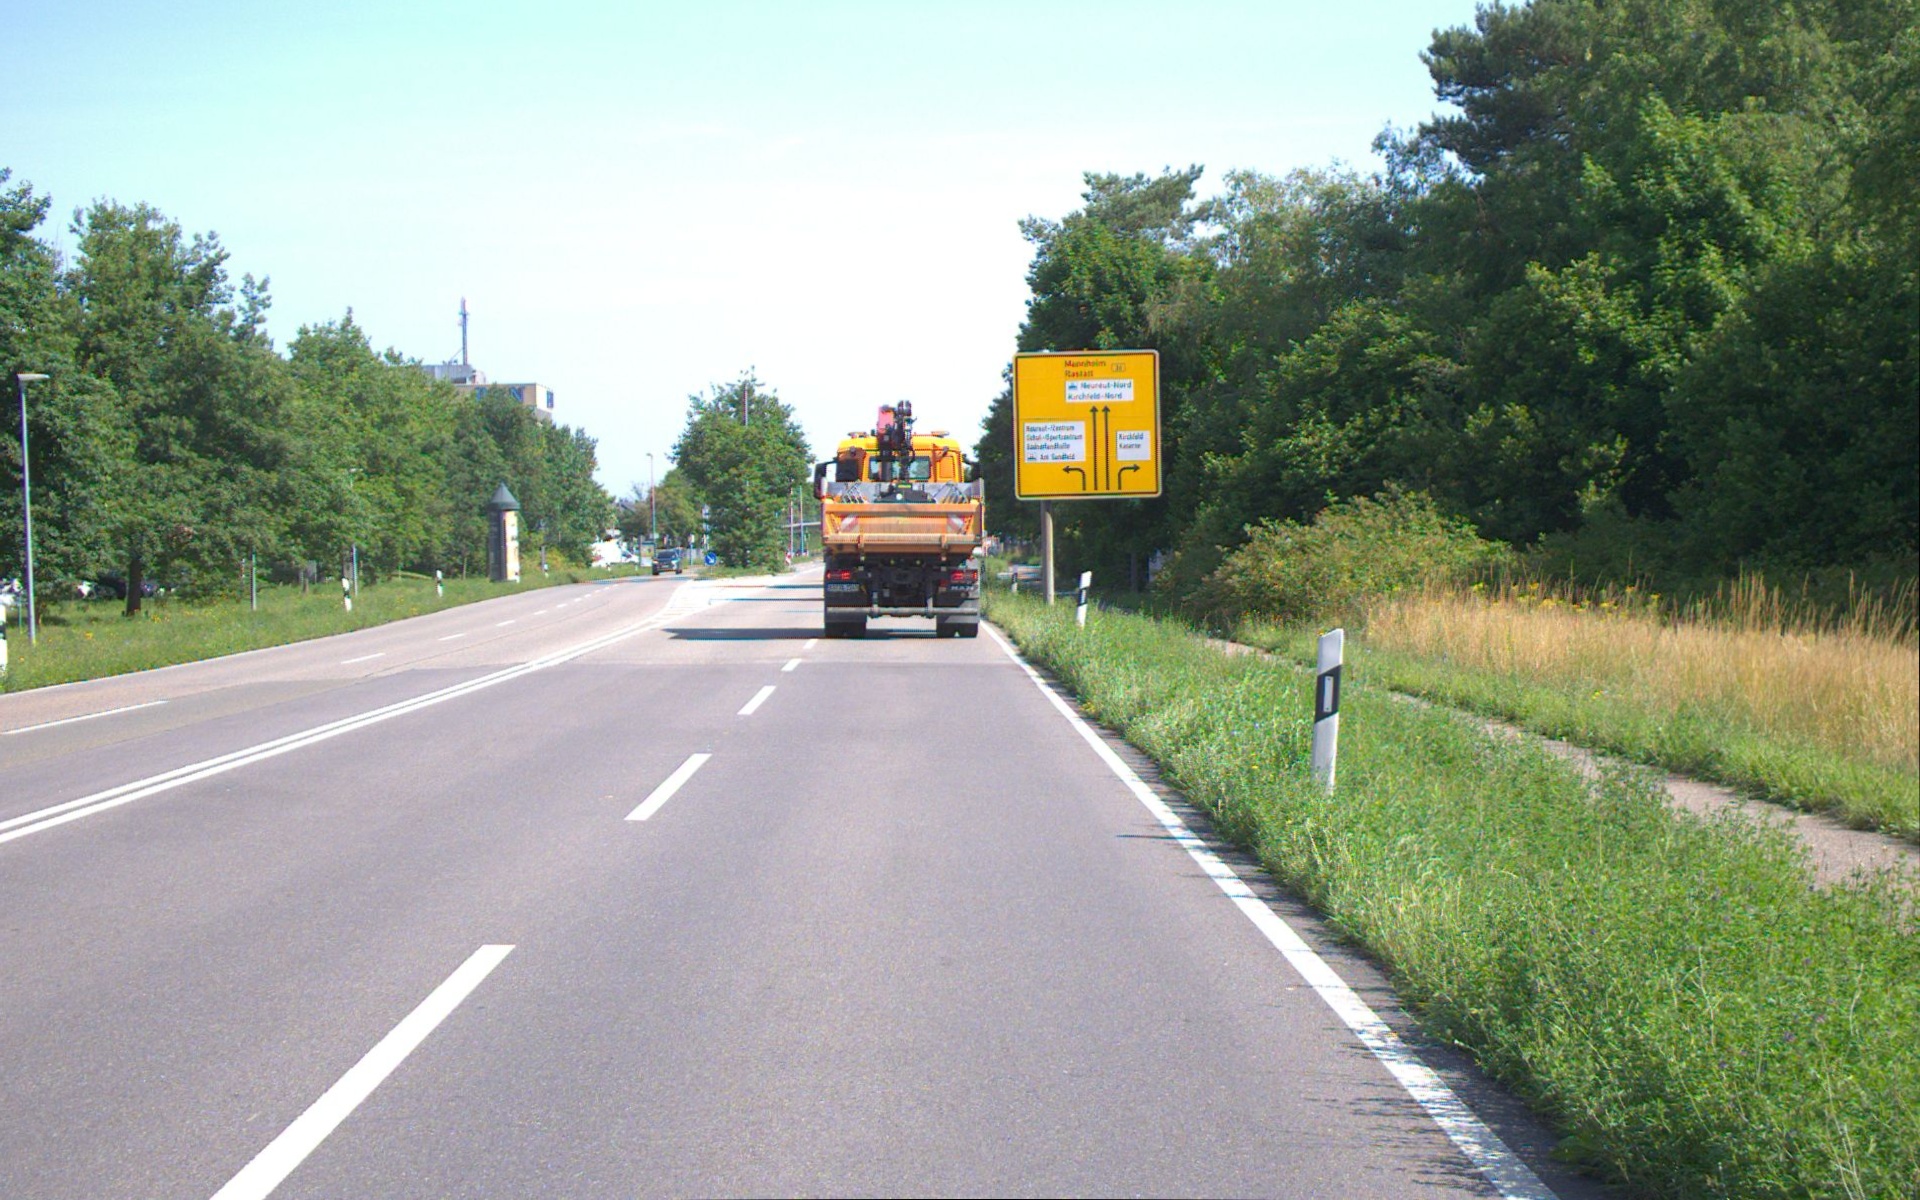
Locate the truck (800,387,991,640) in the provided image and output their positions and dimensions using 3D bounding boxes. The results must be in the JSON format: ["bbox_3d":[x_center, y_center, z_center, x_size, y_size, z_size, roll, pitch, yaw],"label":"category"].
[{"bbox_3d":[-1.173,-1.401,56.919,2.871,3.867,7.401,1,1,-3],"label":"truck"}]

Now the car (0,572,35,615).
[{"bbox_3d":[-34.228,-0.177,117.655,4.594,1.432,2.000,-1,1,-1],"label":"car"}]

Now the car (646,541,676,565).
[{"bbox_3d":[-20.986,-3.324,241.648,1.800,1.566,4.000,-2,1,-1],"label":"car"}]
